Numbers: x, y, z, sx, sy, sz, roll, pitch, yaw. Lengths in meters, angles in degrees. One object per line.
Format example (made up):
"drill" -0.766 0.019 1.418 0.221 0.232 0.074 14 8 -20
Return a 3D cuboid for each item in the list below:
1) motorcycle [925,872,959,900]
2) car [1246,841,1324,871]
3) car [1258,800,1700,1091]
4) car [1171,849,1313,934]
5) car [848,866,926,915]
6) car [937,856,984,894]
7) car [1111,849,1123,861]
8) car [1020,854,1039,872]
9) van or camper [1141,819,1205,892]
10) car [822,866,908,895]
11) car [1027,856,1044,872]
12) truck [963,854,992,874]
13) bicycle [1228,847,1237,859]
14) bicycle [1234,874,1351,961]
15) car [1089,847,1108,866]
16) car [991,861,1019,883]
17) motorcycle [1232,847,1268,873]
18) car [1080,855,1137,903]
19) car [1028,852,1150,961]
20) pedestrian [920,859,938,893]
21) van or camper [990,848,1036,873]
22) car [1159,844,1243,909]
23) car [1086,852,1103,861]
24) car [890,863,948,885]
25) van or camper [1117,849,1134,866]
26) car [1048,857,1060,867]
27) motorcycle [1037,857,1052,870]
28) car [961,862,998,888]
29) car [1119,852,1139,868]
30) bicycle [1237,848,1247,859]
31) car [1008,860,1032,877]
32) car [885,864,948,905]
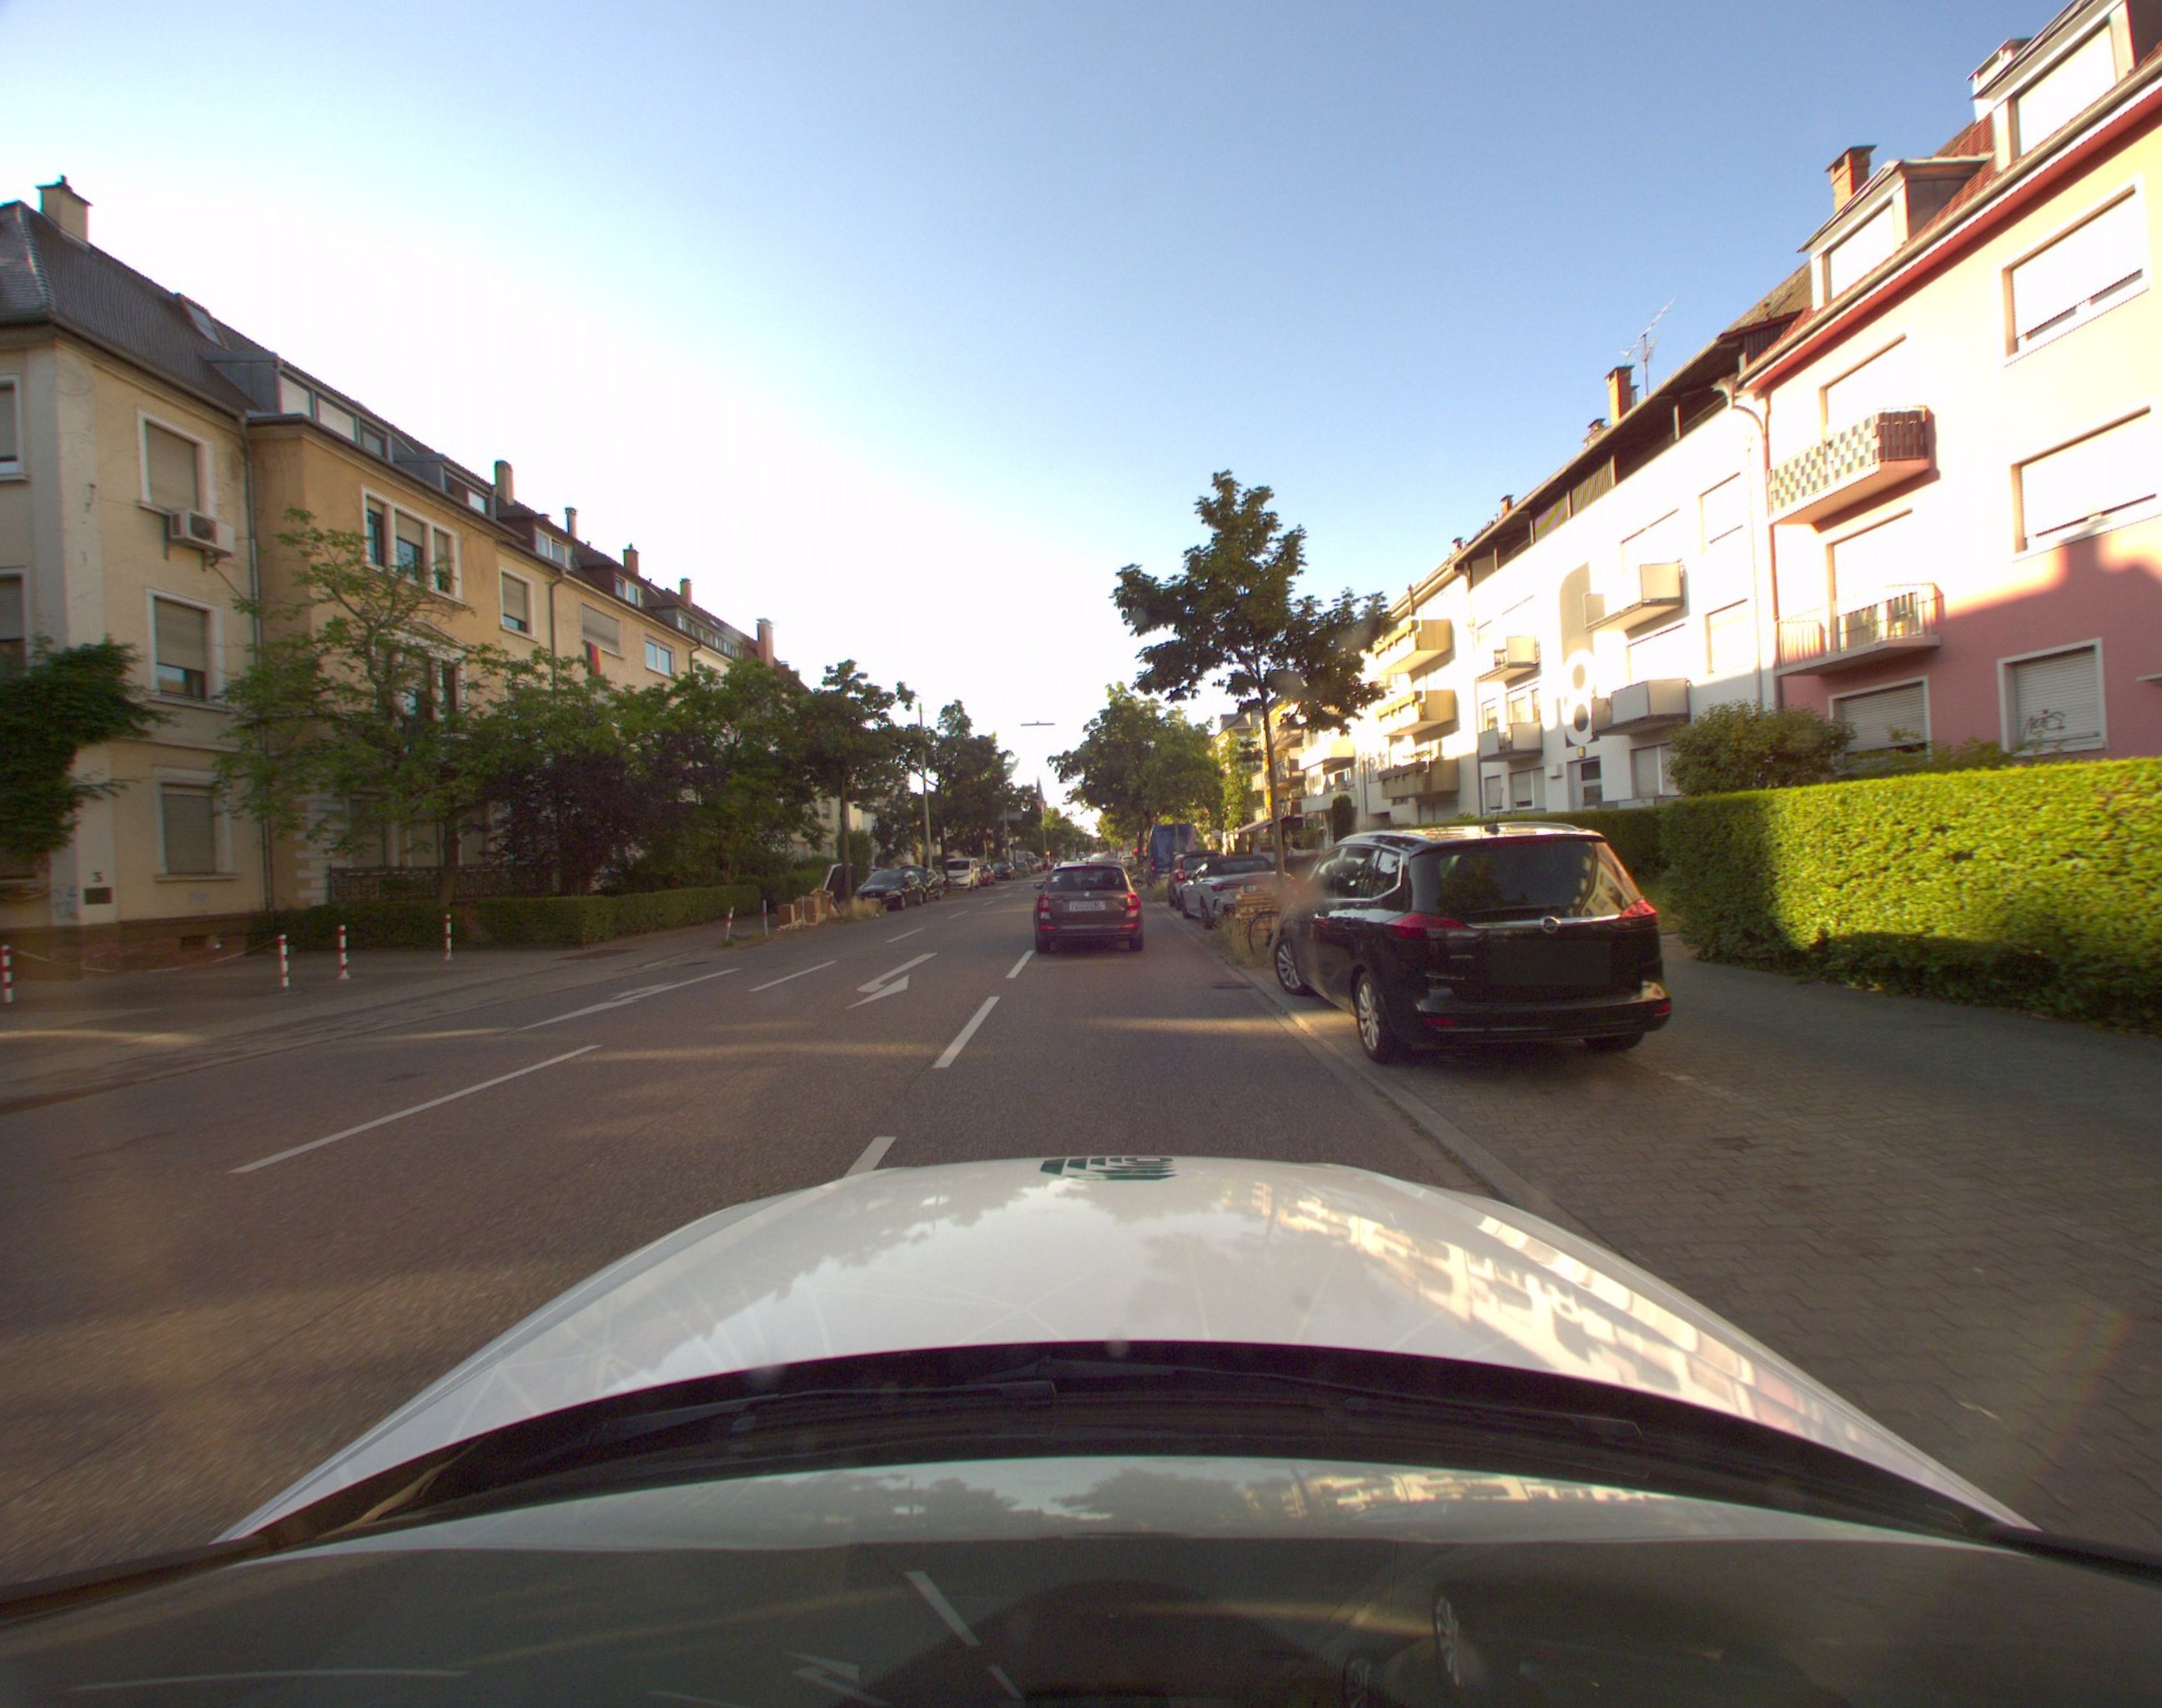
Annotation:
"motorcycle" -6.640 1.528 38.925 0.436 1.192 1.718 -3 0 39
"car" 11.681 0.106 46.765 3.977 1.462 1.823 -3 0 -2
"car" 2.836 0.529 6.997 1.726 1.651 4.293 -3 0 1
"car" 3.262 0.680 17.526 1.915 1.486 4.742 -3 0 -2
"car" -7.143 1.307 30.436 1.744 1.502 4.198 -3 0 1
"car" -6.735 1.114 46.080 1.763 1.919 4.461 -3 0 2
"car" 6.115 0.142 139.363 1.724 1.815 3.950 -3 0 0
"car" -5.649 0.974 89.752 1.744 1.740 3.592 -3 0 1
"van or camper" 3.715 0.082 34.016 2.060 2.675 5.991 -3 -1 2
"car" -12.701 1.520 48.144 4.714 1.362 1.992 -3 0 -12
"car" -5.241 1.116 94.414 1.501 1.757 3.694 -3 0 1
"truck" -11.564 1.142 91.289 2.903 2.093 1.546 -3 0 0
"bicycle" 12.898 -0.078 69.201 0.341 0.950 1.580 0 0 -4
"bicycle" 2.906 0.855 11.200 1.478 1.059 0.410 -3 0 -12
"car" 1.660 0.205 78.339 1.726 1.651 3.543 -3 0 1
"car" -6.043 1.430 65.235 1.710 1.497 4.249 -3 0 2
"motorcycle" 11.156 0.385 53.722 2.182 1.621 0.733 -3 0 7
"car" 0.927 0.830 29.317 1.725 1.493 3.947 -3 0 -2
"car" 0.220 0.769 13.952 1.722 1.493 3.954 -3 0 3
"pedestrian" -9.474 1.359 50.770 0.764 2.013 0.976 -3 0 1
"van or camper" -11.699 1.112 141.057 7.617 3.874 1.999 -3 0 -1
"car" 3.352 0.609 23.408 1.767 1.642 3.756 -3 -1 0
"car" 3.048 0.480 180.745 1.859 1.757 4.204 -3 0 28
"car" -12.370 1.502 62.339 3.977 1.479 1.998 -2 0 -3
"van or camper" 5.646 0.365 103.566 1.986 2.013 4.001 -3 0 1
"car" -4.357 1.335 131.727 1.658 1.432 3.276 -3 0 1
"motorcycle" -4.762 1.240 104.771 0.771 1.511 2.006 -3 0 -41
"car" -6.580 1.341 53.158 1.710 1.421 3.788 -3 0 2
"car" 4.651 0.528 79.499 1.813 1.413 4.115 -3 0 3
"bicycle" 13.528 -0.040 68.591 0.341 0.950 1.580 -5 0 -4
"car" -5.690 1.311 76.563 1.747 1.420 4.428 -3 0 2
"car" -7.090 1.269 35.383 1.744 1.502 3.980 -3 0 1
